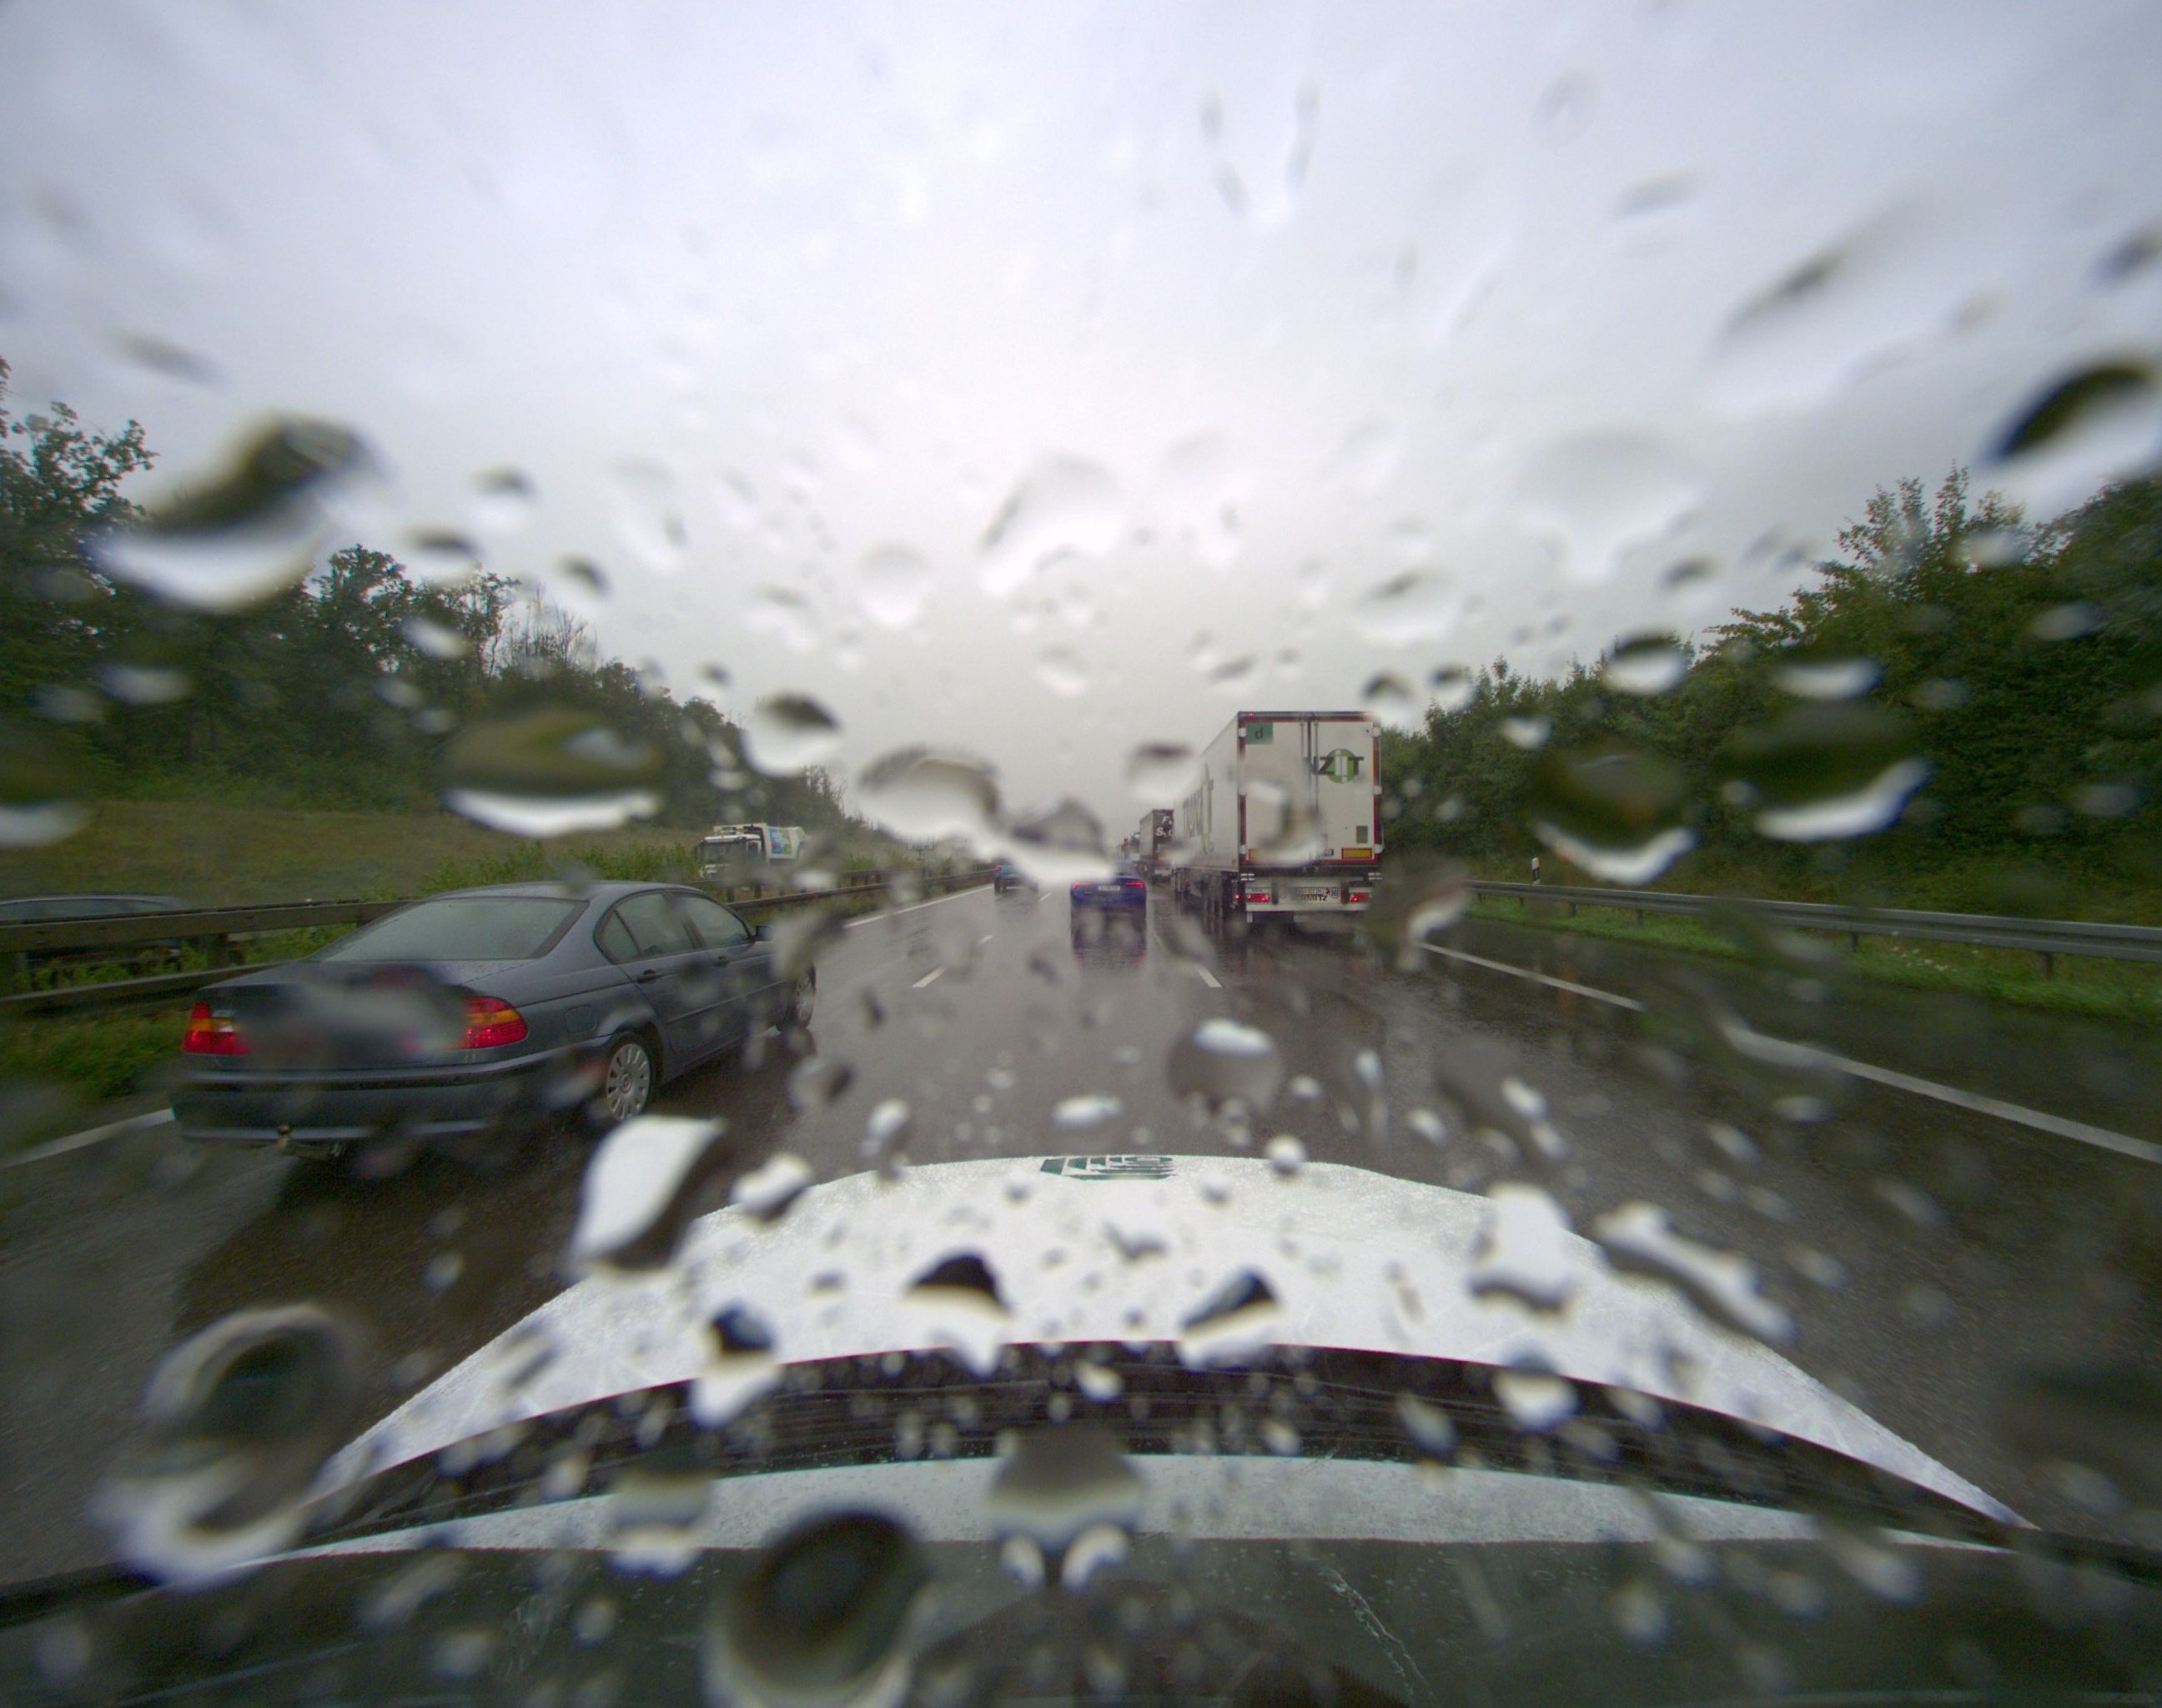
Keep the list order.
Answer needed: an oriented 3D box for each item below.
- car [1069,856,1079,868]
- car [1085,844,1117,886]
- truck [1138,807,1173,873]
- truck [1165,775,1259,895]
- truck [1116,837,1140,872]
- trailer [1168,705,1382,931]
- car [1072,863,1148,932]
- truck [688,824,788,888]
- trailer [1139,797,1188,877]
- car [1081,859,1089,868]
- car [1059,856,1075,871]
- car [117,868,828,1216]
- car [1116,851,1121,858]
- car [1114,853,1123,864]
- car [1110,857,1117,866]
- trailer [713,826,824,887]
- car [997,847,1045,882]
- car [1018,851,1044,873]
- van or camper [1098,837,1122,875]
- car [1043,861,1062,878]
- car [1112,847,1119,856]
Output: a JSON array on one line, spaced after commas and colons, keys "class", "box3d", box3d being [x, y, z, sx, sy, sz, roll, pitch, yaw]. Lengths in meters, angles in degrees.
[{"class": "car", "box3d": [-1.102, 1.221, 125.501, 1.443, 1.784, 3.410, -1, 0, 2]}, {"class": "car", "box3d": [0.904, 0.458, 36.546, 1.332, 1.780, 3.323, -1, 0, 2]}, {"class": "truck", "box3d": [4.935, -0.931, 54.515, 2.039, 4.193, 4.001, -1, 0, 1]}, {"class": "truck", "box3d": [4.467, -0.629, 28.627, 2.621, 3.827, 4.793, -1, 0, 1]}, {"class": "truck", "box3d": [4.836, 0.018, 84.347, 1.987, 3.421, 8.032, -1, 1, 0]}, {"class": "trailer", "box3d": [4.282, -0.683, 21.988, 2.621, 4.013, 14.634, -1, 0, 2]}, {"class": "car", "box3d": [0.719, 0.976, 19.873, 1.629, 1.445, 4.002, -1, 0, 2]}, {"class": "truck", "box3d": [-15.944, 0.124, 38.168, 2.472, 2.719, 4.530, -3, -1, 2]}, {"class": "trailer", "box3d": [4.766, -0.900, 48.706, 2.039, 4.176, 11.452, -1, 0, 2]}, {"class": "car", "box3d": [0.843, 1.897, 165.520, 1.443, 1.784, 3.410, -1, 0, 2]}, {"class": "car", "box3d": [-1.461, 1.005, 86.096, 1.434, 1.533, 3.323, -1, 0, 1]}, {"class": "car", "box3d": [-3.287, 0.847, 5.642, 1.712, 1.400, 4.229, -1, 0, 0]}, {"class": "car", "box3d": [10.339, 0.200, 225.848, 1.443, 1.784, 3.410, -1, 0, 2]}, {"class": "car", "box3d": [6.185, 0.714, 135.621, 1.443, 1.784, 3.410, -1, 0, 2]}, {"class": "car", "box3d": [5.882, 1.402, 147.136, 1.244, 1.512, 3.109, -2, 1, 1]}, {"class": "trailer", "box3d": [-15.773, 0.203, 41.773, 2.471, 2.719, 7.328, -3, -1, 3]}, {"class": "car", "box3d": [-2.696, 0.465, 37.535, 1.715, 1.523, 4.003, -1, 0, 2]}, {"class": "car", "box3d": [-3.288, 0.505, 53.976, 1.354, 1.431, 3.365, -1, 0, 2]}, {"class": "van or camper", "box3d": [2.251, 0.138, 63.620, 1.791, 2.806, 4.769, -1, 0, 2]}, {"class": "car", "box3d": [-2.447, 1.324, 70.324, 1.434, 1.420, 3.323, -1, 0, 1]}, {"class": "car", "box3d": [7.265, -0.559, 171.251, 1.331, 1.890, 3.041, -2, 0, 1]}]
